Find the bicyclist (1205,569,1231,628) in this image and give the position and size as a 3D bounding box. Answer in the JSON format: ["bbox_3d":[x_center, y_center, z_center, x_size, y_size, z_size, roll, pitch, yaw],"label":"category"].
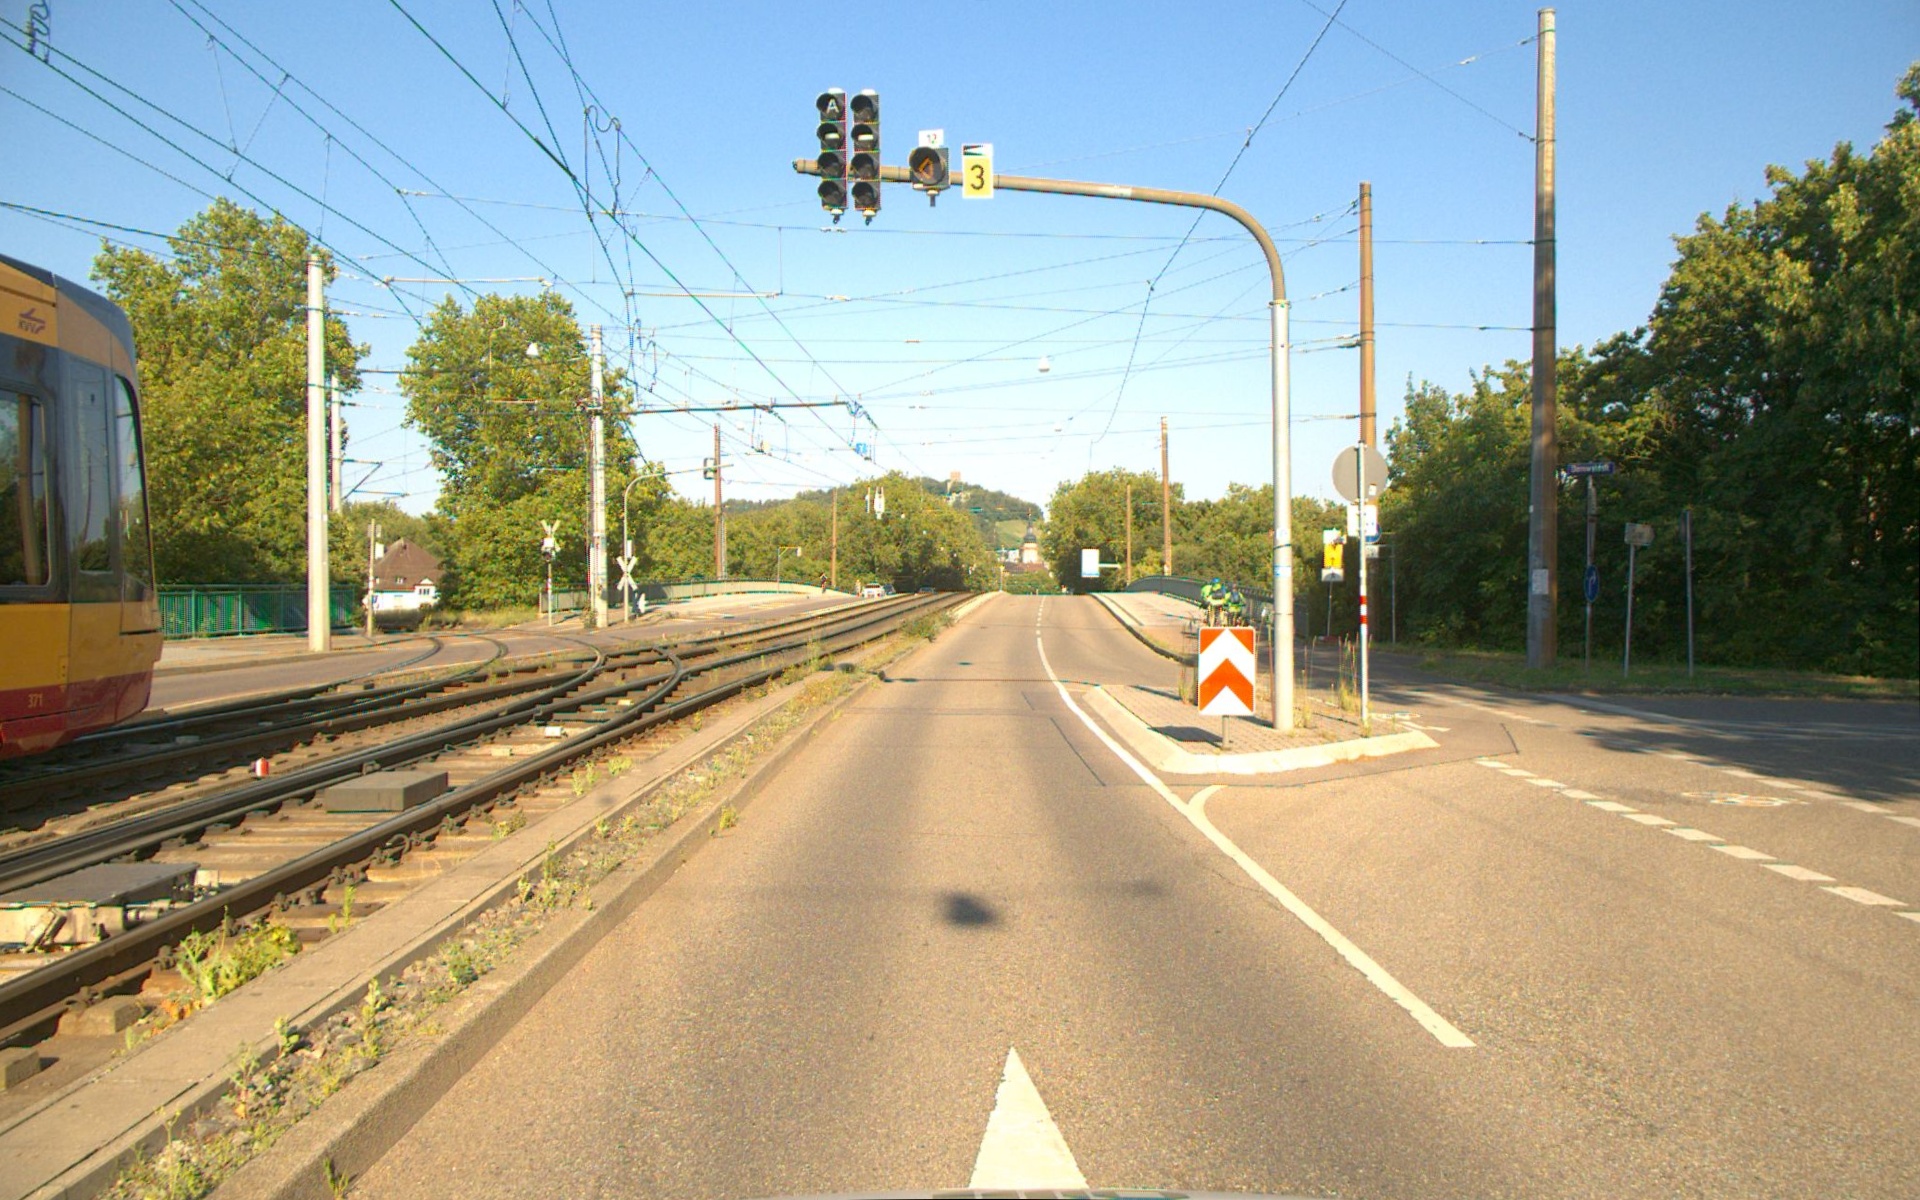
[{"bbox_3d":[7.161,-0.033,45.918,0.612,1.620,0.931,0,0,3],"label":"bicyclist"}]

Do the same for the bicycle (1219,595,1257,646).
[{"bbox_3d":[6.791,0.487,40.468,0.669,1.142,2.217,0,2,3],"label":"bicycle"}]

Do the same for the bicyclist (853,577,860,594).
[{"bbox_3d":[-10.260,-1.409,163.887,0.612,1.661,0.936,0,0,6],"label":"bicyclist"}]

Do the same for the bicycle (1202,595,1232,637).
[{"bbox_3d":[7.122,0.431,45.903,0.612,1.142,2.043,0,0,3],"label":"bicycle"}]

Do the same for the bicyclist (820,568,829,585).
[{"bbox_3d":[-11.549,-2.006,141.010,0.612,1.457,0.969,0,0,4],"label":"bicyclist"}]

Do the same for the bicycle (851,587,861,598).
[{"bbox_3d":[-10.261,-0.749,163.886,0.612,1.142,2.261,0,0,6],"label":"bicycle"}]

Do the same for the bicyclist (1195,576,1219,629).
[{"bbox_3d":[7.338,0.065,49.083,0.612,1.534,1.006,0,1,3],"label":"bicyclist"}]

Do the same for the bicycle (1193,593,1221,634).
[{"bbox_3d":[7.332,0.386,49.098,0.612,1.142,2.261,0,1,3],"label":"bicycle"}]

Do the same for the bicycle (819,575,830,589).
[{"bbox_3d":[-11.553,-1.525,140.973,0.612,1.142,2.261,0,0,4],"label":"bicycle"}]

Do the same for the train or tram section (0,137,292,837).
[{"bbox_3d":[-6.881,-0.625,7.214,2.917,3.969,12.700,0,0,-1],"label":"train or tram section"}]

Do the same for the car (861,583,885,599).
[{"bbox_3d":[-7.905,-0.845,150.226,1.649,1.380,4.922,0,0,3],"label":"car"}]

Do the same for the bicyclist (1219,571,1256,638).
[{"bbox_3d":[6.782,0.097,40.442,0.795,1.589,0.897,0,1,3],"label":"bicyclist"}]
